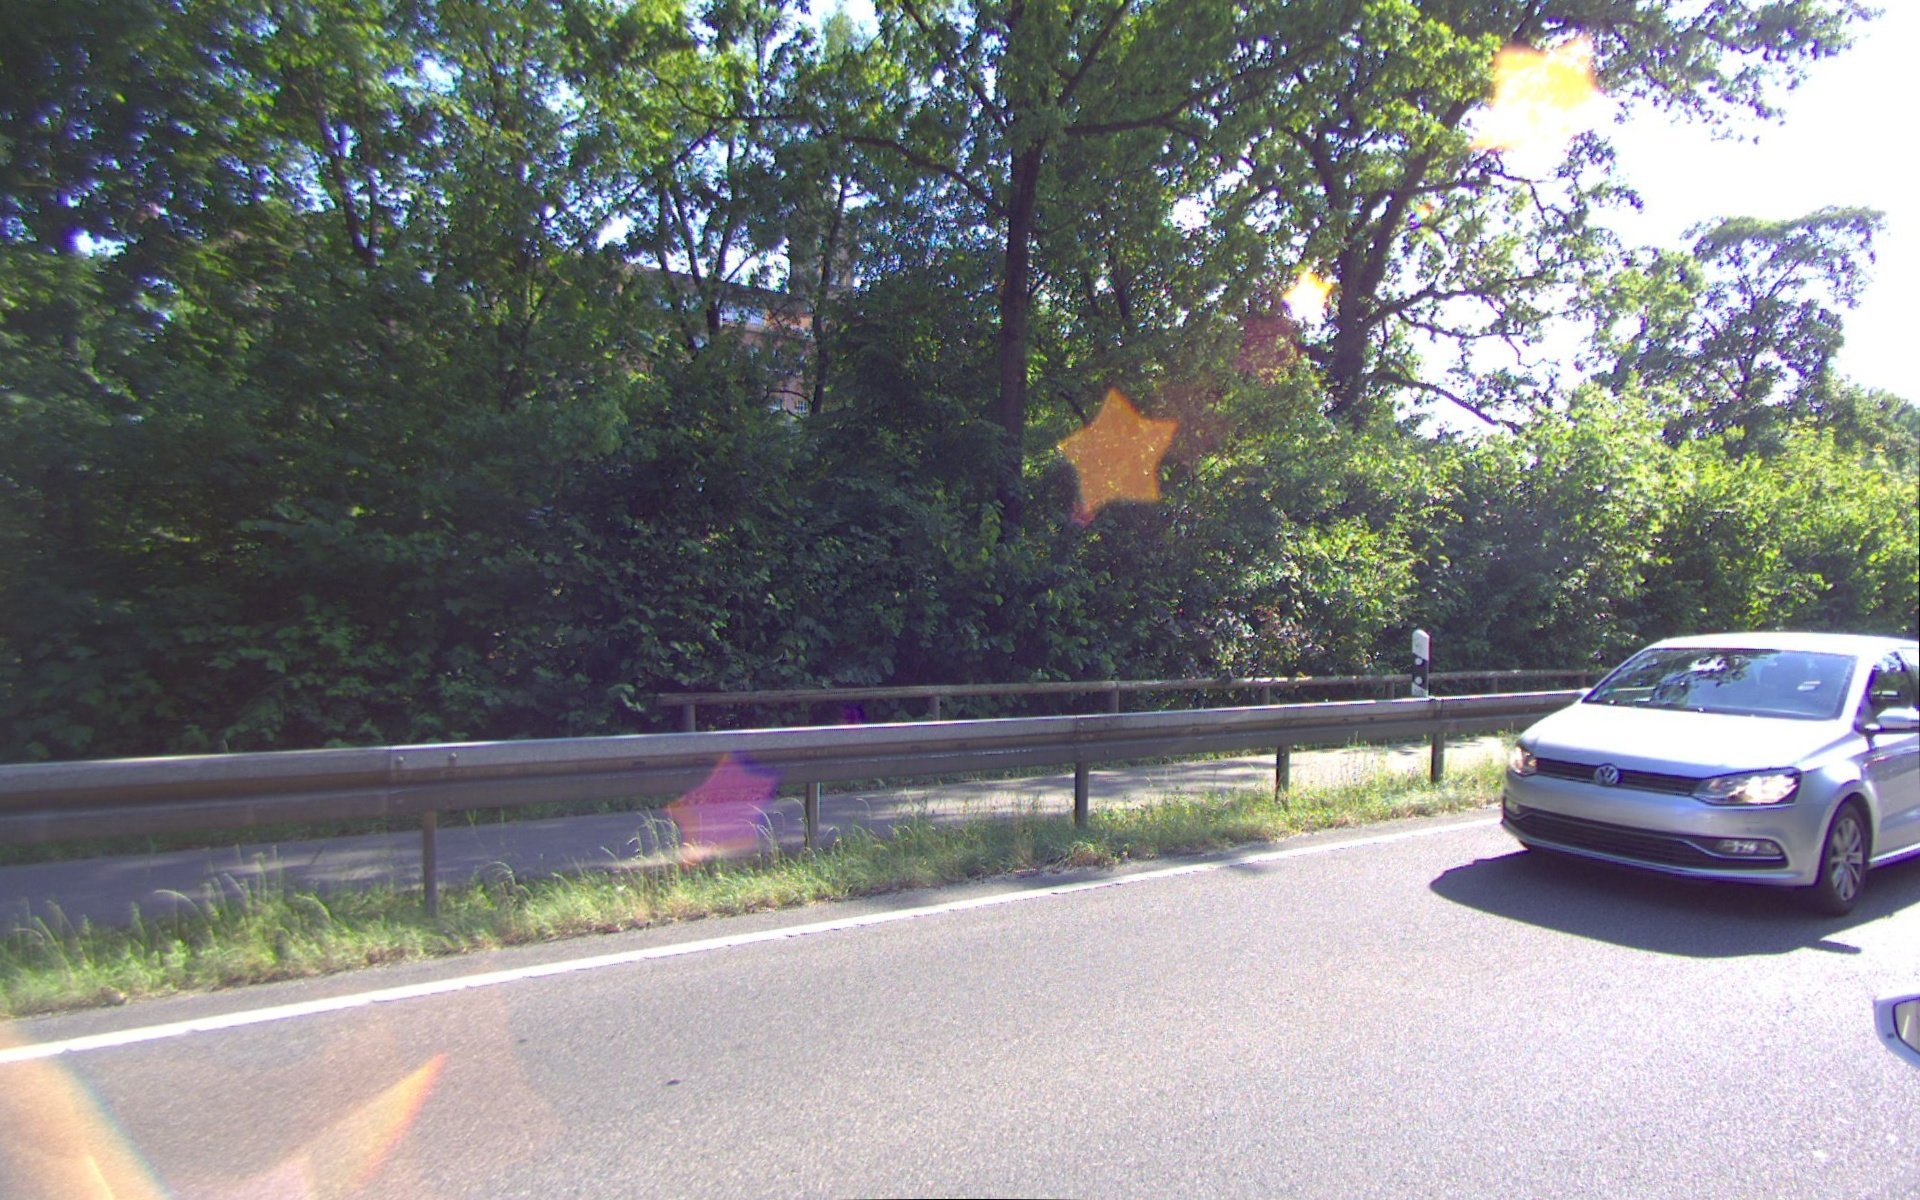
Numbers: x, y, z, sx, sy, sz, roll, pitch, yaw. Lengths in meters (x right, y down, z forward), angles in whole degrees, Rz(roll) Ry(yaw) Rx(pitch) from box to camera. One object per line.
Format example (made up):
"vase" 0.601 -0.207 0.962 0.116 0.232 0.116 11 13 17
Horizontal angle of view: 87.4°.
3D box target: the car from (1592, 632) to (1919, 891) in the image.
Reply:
"car" 6.495 0.958 7.283 4.001 1.395 1.615 1 -1 -31
